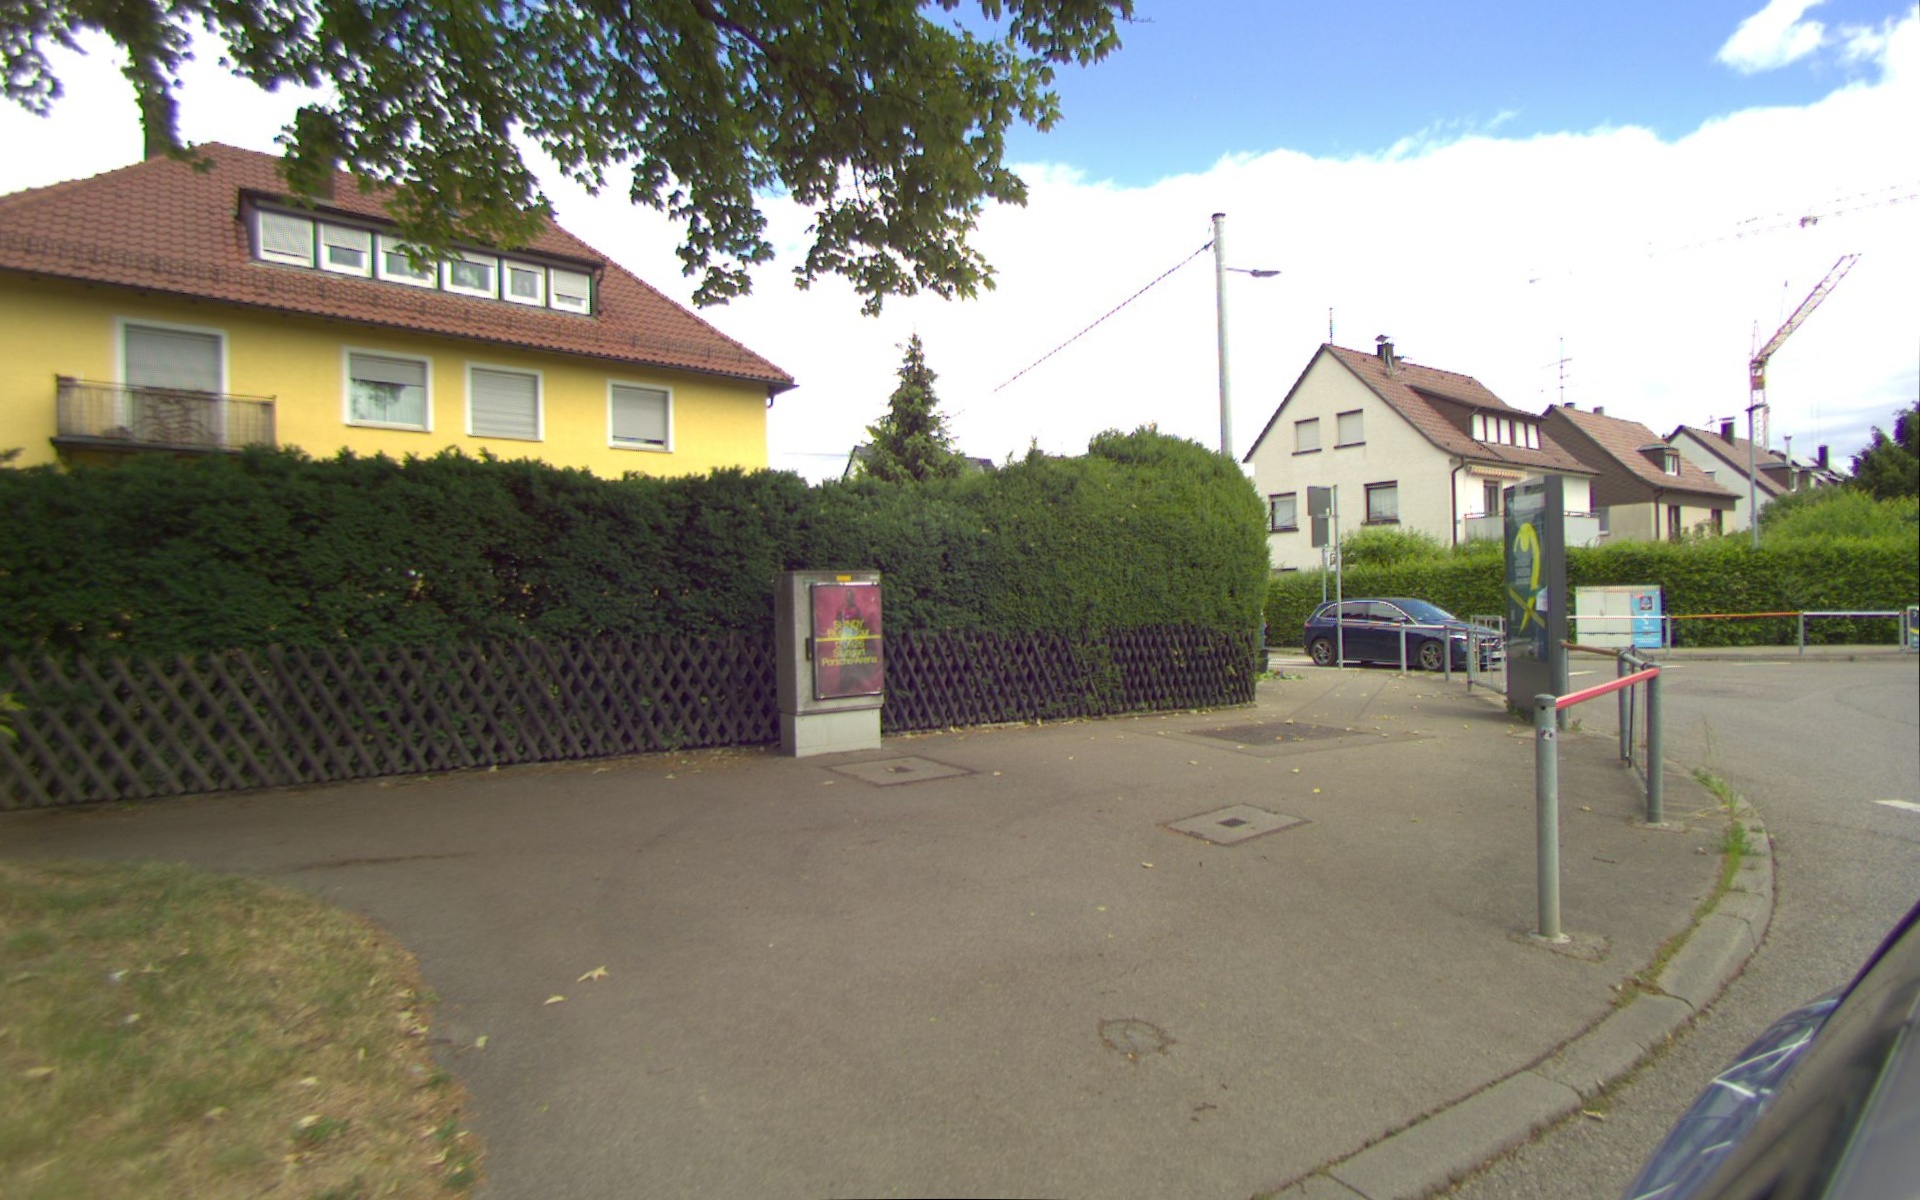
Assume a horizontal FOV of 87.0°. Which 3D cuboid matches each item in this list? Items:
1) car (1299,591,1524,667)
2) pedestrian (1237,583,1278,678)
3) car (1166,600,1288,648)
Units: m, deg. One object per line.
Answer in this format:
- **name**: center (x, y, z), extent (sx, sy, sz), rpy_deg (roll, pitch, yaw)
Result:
- **car**: center (9.597, 0.585, 21.879), extent (1.552, 1.467, 4.323), rpy_deg (0, 0, -31)
- **pedestrian**: center (5.342, 0.540, 18.214), extent (0.584, 1.677, 0.653), rpy_deg (-1, 0, 7)
- **car**: center (8.706, 0.810, 33.224), extent (1.677, 1.473, 3.613), rpy_deg (0, -2, -37)
